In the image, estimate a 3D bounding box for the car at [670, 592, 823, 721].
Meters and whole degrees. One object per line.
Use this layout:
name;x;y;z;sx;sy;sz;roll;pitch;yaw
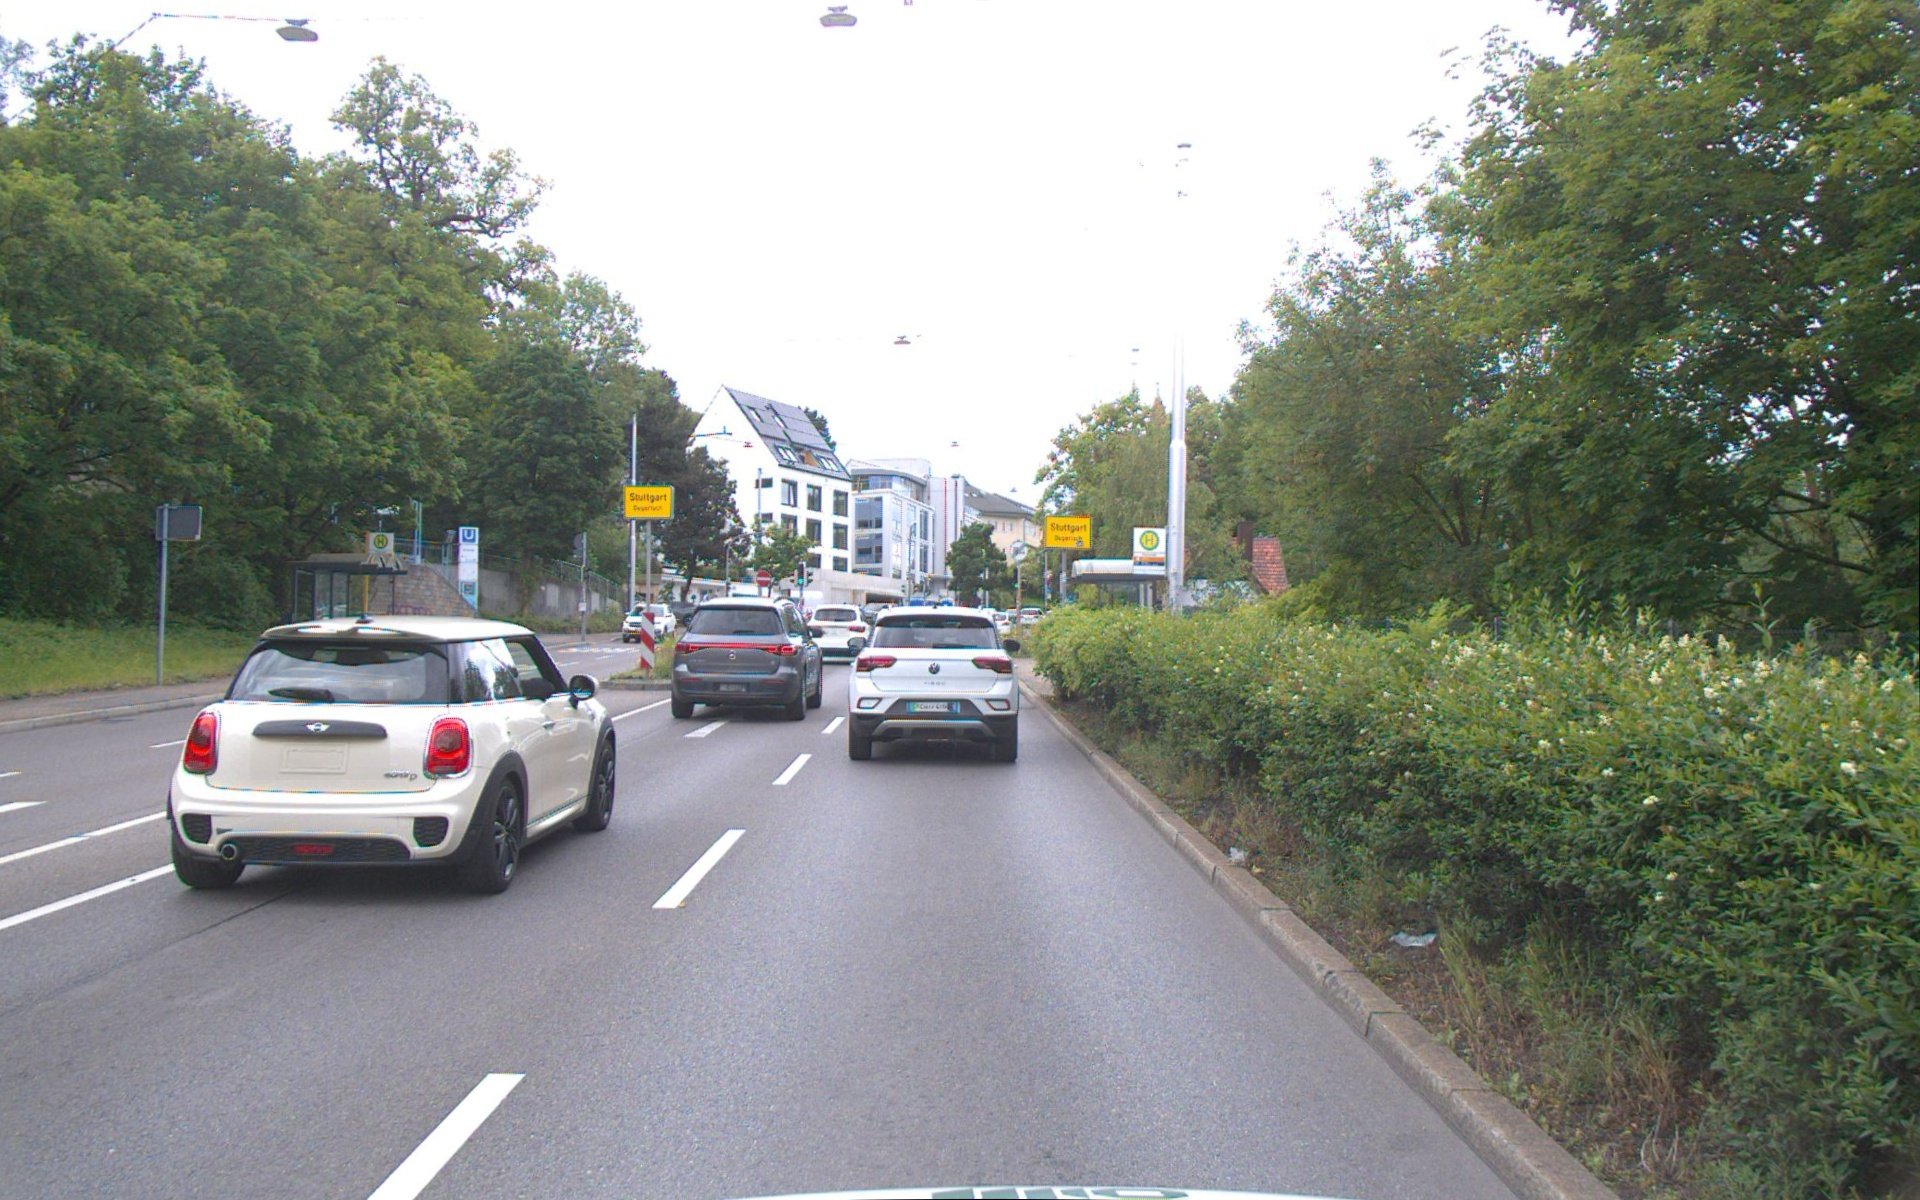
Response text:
car;-2.977;0.762;23.935;1.776;1.681;4.634;0;-1;-2

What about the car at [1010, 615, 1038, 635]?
car;5.110;1.965;131.298;1.818;1.527;4.058;0;-1;8

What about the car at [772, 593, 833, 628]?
car;-12.017;0.810;126.646;2.184;2.613;7.427;0;-1;15

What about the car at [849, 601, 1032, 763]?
car;-0.254;0.813;17.958;1.775;1.566;3.688;0;-1;-2

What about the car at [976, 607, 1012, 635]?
car;1.893;1.148;92.853;1.821;1.527;4.053;0;-1;-2

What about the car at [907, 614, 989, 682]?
car;-0.336;1.105;39.610;1.821;1.527;4.053;0;-1;-2

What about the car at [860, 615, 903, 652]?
car;-3.369;1.433;71.566;1.821;1.527;4.053;0;-1;-2

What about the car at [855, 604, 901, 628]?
car;-6.868;1.336;139.347;1.941;2.002;5.219;0;-1;20

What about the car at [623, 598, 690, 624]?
car;-18.939;0.691;103.092;4.047;1.567;1.594;0;-1;-12

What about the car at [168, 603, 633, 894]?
car;-3.100;0.744;9.910;1.594;1.418;3.565;0;-1;-1

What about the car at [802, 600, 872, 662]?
car;-3.457;0.875;47.279;1.821;1.681;4.634;0;-1;-2

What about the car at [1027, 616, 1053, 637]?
car;6.075;2.016;125.813;1.819;1.527;4.058;0;-1;5

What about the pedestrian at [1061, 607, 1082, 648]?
pedestrian;4.674;1.152;69.314;0.679;1.718;0.620;-1;-2;21

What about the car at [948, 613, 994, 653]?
car;0.487;1.391;70.975;1.835;1.527;4.555;3;-1;1

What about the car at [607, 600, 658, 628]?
car;-19.611;0.841;98.910;2.667;1.547;1.552;4;-2;-24

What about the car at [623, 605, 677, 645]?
car;-12.890;1.031;68.905;1.695;1.568;4.040;1;-1;-4

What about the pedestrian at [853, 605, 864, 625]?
pedestrian;-8.603;1.276;140.233;0.667;1.669;0.664;3;-1;-33
